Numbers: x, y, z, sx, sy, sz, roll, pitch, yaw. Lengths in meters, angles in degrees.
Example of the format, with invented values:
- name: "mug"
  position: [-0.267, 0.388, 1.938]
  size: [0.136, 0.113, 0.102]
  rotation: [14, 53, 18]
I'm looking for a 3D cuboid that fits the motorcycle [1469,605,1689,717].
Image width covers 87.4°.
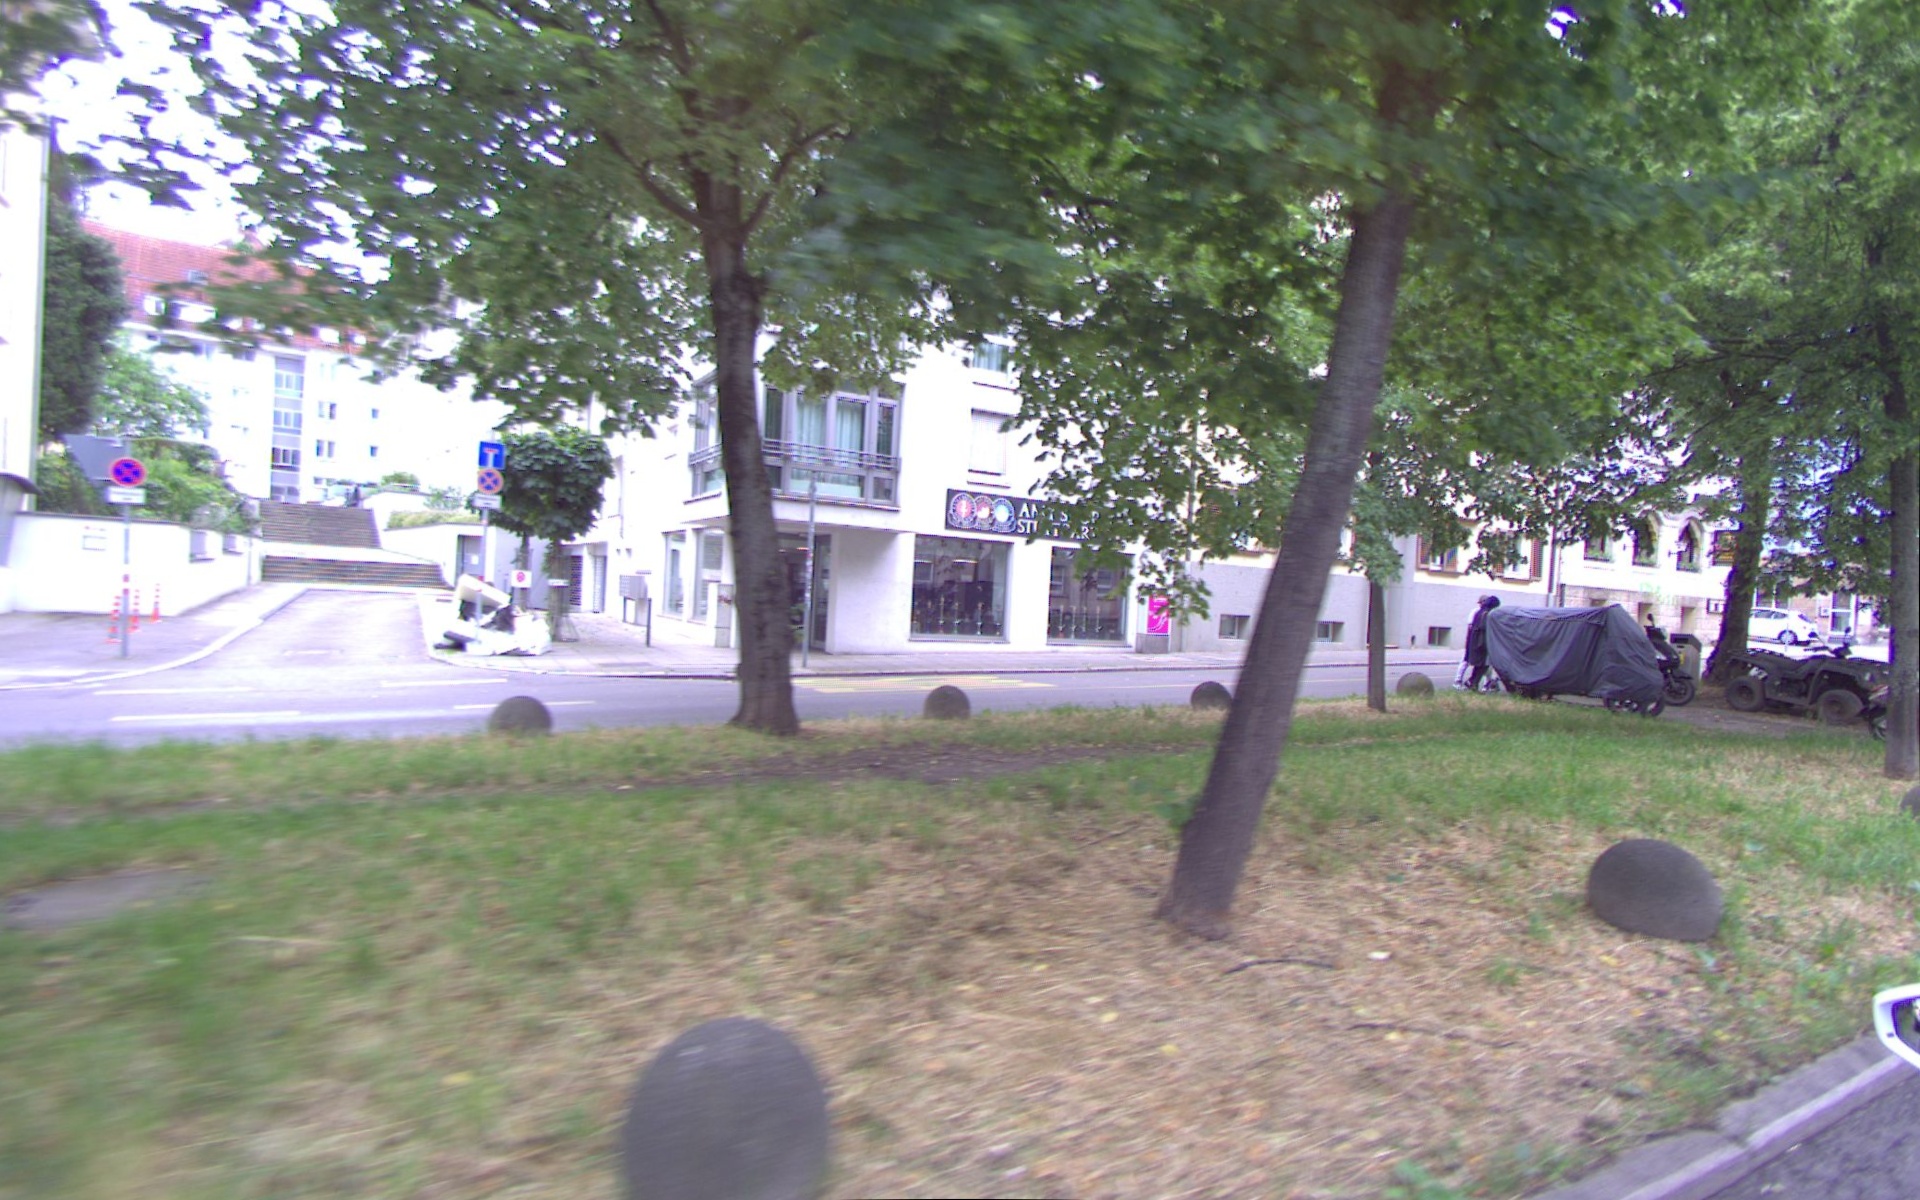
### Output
- name: "motorcycle"
  position: [8.502, 0.777, 13.930]
  size: [1.033, 1.335, 2.370]
  rotation: [1, 1, -30]

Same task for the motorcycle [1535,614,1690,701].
- name: "motorcycle"
  position: [10.661, 0.906, 16.497]
  size: [0.510, 1.252, 2.098]
  rotation: [1, 1, -31]

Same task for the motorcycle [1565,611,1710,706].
- name: "motorcycle"
  position: [10.482, 0.876, 15.600]
  size: [0.617, 1.356, 1.753]
  rotation: [2, 0, -31]

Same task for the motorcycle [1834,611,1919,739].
- name: "motorcycle"
  position: [10.495, 0.815, 10.440]
  size: [0.883, 1.314, 1.914]
  rotation: [3, -1, -31]

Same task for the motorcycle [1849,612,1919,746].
- name: "motorcycle"
  position: [11.287, 0.917, 10.949]
  size: [0.863, 1.458, 2.185]
  rotation: [1, 1, -27]

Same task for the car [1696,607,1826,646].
- name: "car"
  position: [34.830, 1.129, 43.760]
  size: [1.976, 1.517, 3.968]
  rotation: [1, 1, -29]

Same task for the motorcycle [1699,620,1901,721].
- name: "motorcycle"
  position: [11.961, 0.962, 14.395]
  size: [0.884, 1.252, 2.023]
  rotation: [1, 1, -24]

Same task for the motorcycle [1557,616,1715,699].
- name: "motorcycle"
  position: [11.239, 0.930, 16.795]
  size: [0.615, 1.252, 2.120]
  rotation: [3, -1, -29]

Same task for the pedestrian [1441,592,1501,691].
- name: "pedestrian"
  position: [8.746, 0.700, 17.207]
  size: [0.572, 1.638, 0.660]
  rotation: [1, 2, -28]

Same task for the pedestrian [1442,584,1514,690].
- name: "pedestrian"
  position: [8.259, 0.576, 16.031]
  size: [0.754, 1.635, 0.632]
  rotation: [1, 2, -25]
